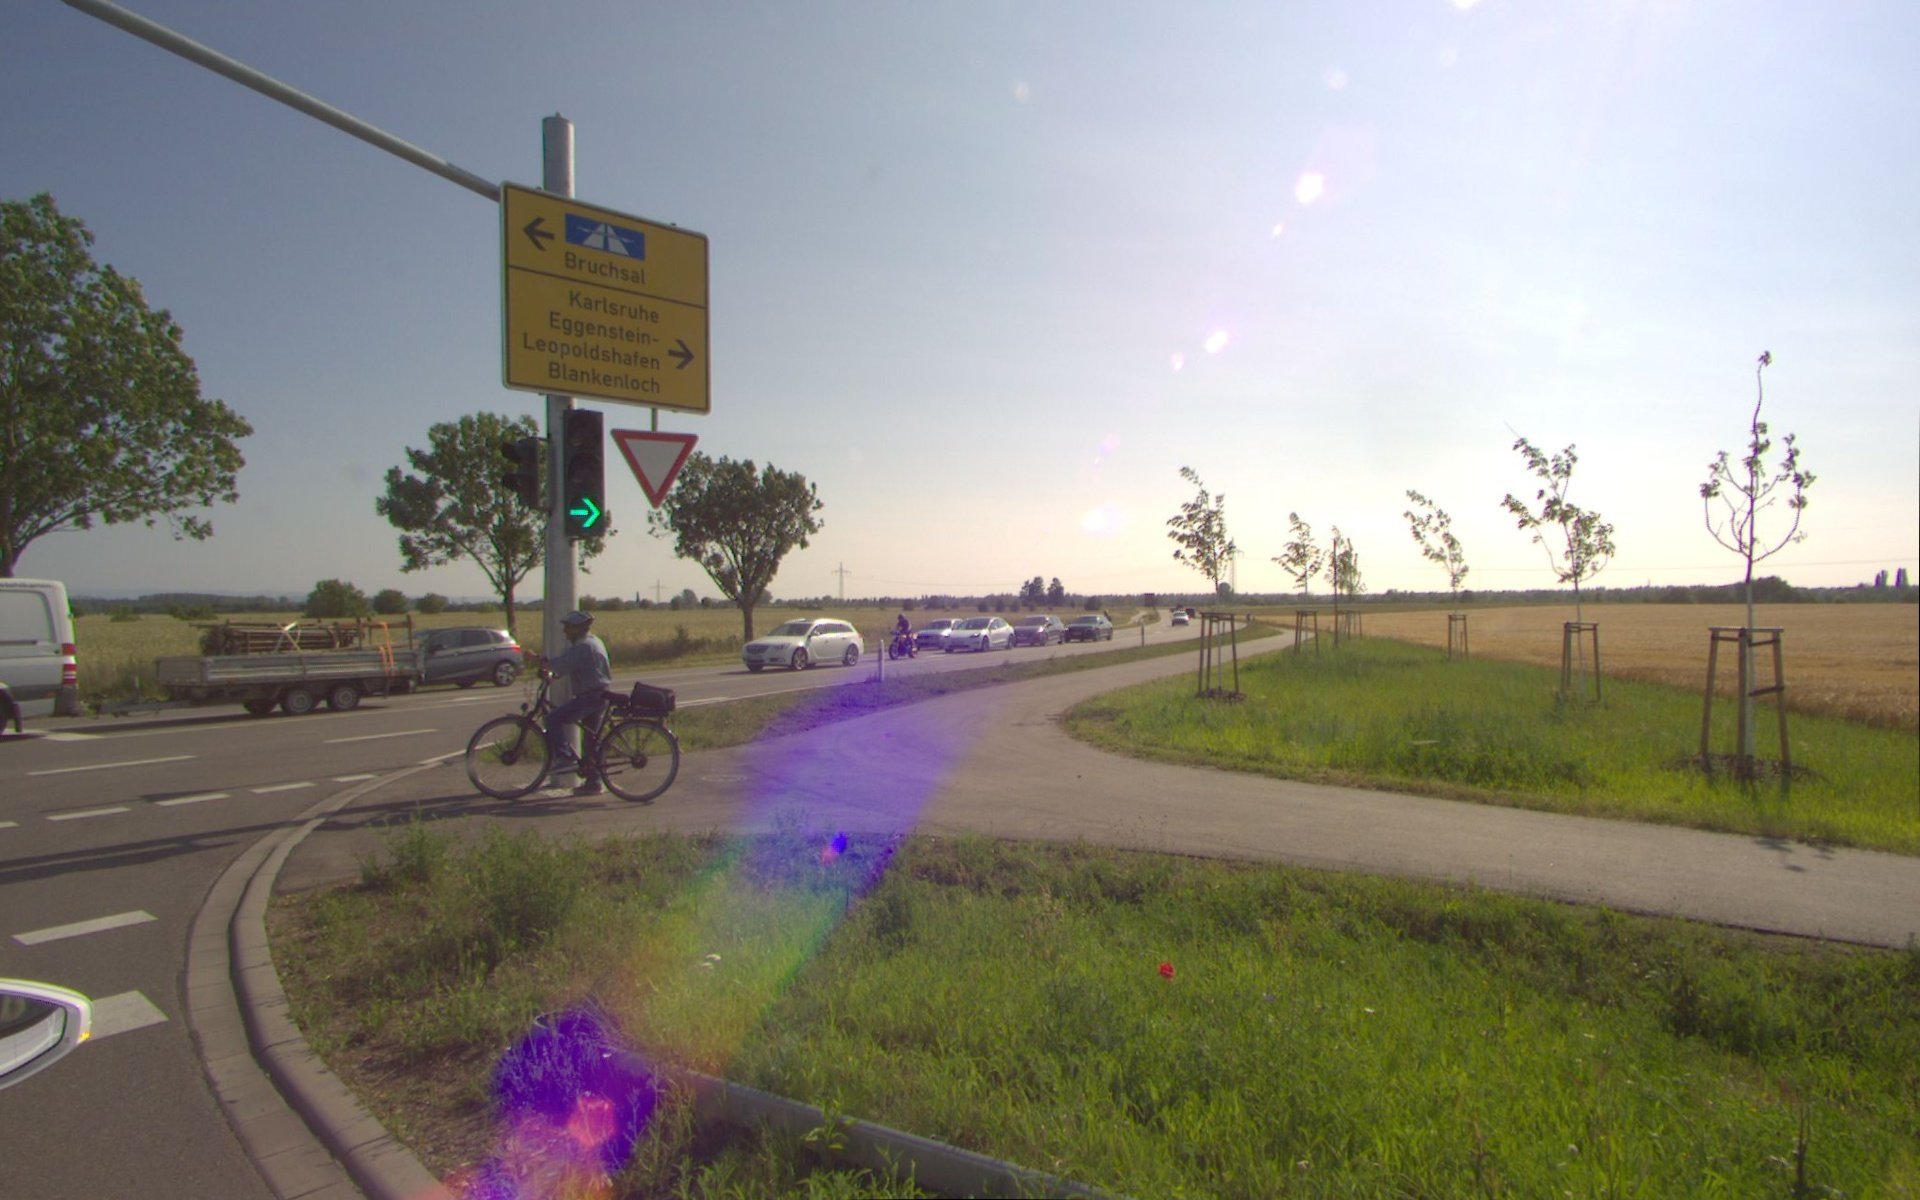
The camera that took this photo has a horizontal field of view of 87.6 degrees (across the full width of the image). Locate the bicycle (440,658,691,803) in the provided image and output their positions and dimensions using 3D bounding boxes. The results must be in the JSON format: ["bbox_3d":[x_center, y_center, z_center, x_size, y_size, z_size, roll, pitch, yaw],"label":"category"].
[{"bbox_3d":[-3.388,1.136,8.773,1.910,1.165,0.681,3,-2,-13],"label":"bicycle"}]

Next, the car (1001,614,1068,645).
[{"bbox_3d":[3.724,1.427,49.193,1.866,1.480,4.292,-1,-1,25],"label":"car"}]

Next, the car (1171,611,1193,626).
[{"bbox_3d":[22.699,1.880,102.461,1.662,1.421,3.992,-2,-1,20],"label":"car"}]

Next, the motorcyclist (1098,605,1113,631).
[{"bbox_3d":[8.751,1.069,60.304,0.669,1.514,0.844,-1,0,25],"label":"motorcyclist"}]

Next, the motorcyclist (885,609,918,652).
[{"bbox_3d":[-2.127,1.107,36.578,0.670,1.535,1.176,-1,0,27],"label":"motorcyclist"}]

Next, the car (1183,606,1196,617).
[{"bbox_3d":[38.581,1.917,168.471,1.810,1.858,4.466,1,0,9],"label":"car"}]

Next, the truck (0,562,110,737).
[{"bbox_3d":[-15.184,0.708,12.870,2.041,2.436,6.169,-2,-1,30],"label":"truck"}]

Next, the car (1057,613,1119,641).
[{"bbox_3d":[7.119,1.485,55.388,1.866,1.455,4.779,-1,-1,27],"label":"car"}]

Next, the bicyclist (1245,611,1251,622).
[{"bbox_3d":[37.818,2.186,131.548,0.627,1.476,0.817,1,0,2],"label":"bicyclist"}]

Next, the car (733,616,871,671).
[{"bbox_3d":[-4.761,1.295,30.860,1.738,1.511,4.689,-2,-1,28],"label":"car"}]

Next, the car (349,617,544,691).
[{"bbox_3d":[-12.818,1.317,25.226,1.863,1.646,3.981,-3,-2,30],"label":"car"}]

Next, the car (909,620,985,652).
[{"bbox_3d":[-0.586,1.709,48.716,1.611,1.394,4.400,-3,-2,31],"label":"car"}]

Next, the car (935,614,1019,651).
[{"bbox_3d":[0.793,1.339,42.825,1.867,1.485,4.258,-1,-1,28],"label":"car"}]

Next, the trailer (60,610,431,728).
[{"bbox_3d":[-12.363,1.091,17.730,1.953,1.760,4.985,-2,-1,32],"label":"trailer"}]

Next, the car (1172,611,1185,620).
[{"bbox_3d":[45.491,3.241,208.460,1.940,1.703,4.107,-1,-1,4],"label":"car"}]

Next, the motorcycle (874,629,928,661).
[{"bbox_3d":[-2.127,1.618,36.621,0.885,1.057,2.419,-1,0,26],"label":"motorcycle"}]

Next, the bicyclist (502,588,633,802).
[{"bbox_3d":[-3.407,0.822,8.768,0.901,1.787,0.619,3,-2,-13],"label":"bicyclist"}]

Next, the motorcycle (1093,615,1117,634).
[{"bbox_3d":[8.717,1.470,60.223,0.859,1.087,1.962,-1,-1,25],"label":"motorcycle"}]
